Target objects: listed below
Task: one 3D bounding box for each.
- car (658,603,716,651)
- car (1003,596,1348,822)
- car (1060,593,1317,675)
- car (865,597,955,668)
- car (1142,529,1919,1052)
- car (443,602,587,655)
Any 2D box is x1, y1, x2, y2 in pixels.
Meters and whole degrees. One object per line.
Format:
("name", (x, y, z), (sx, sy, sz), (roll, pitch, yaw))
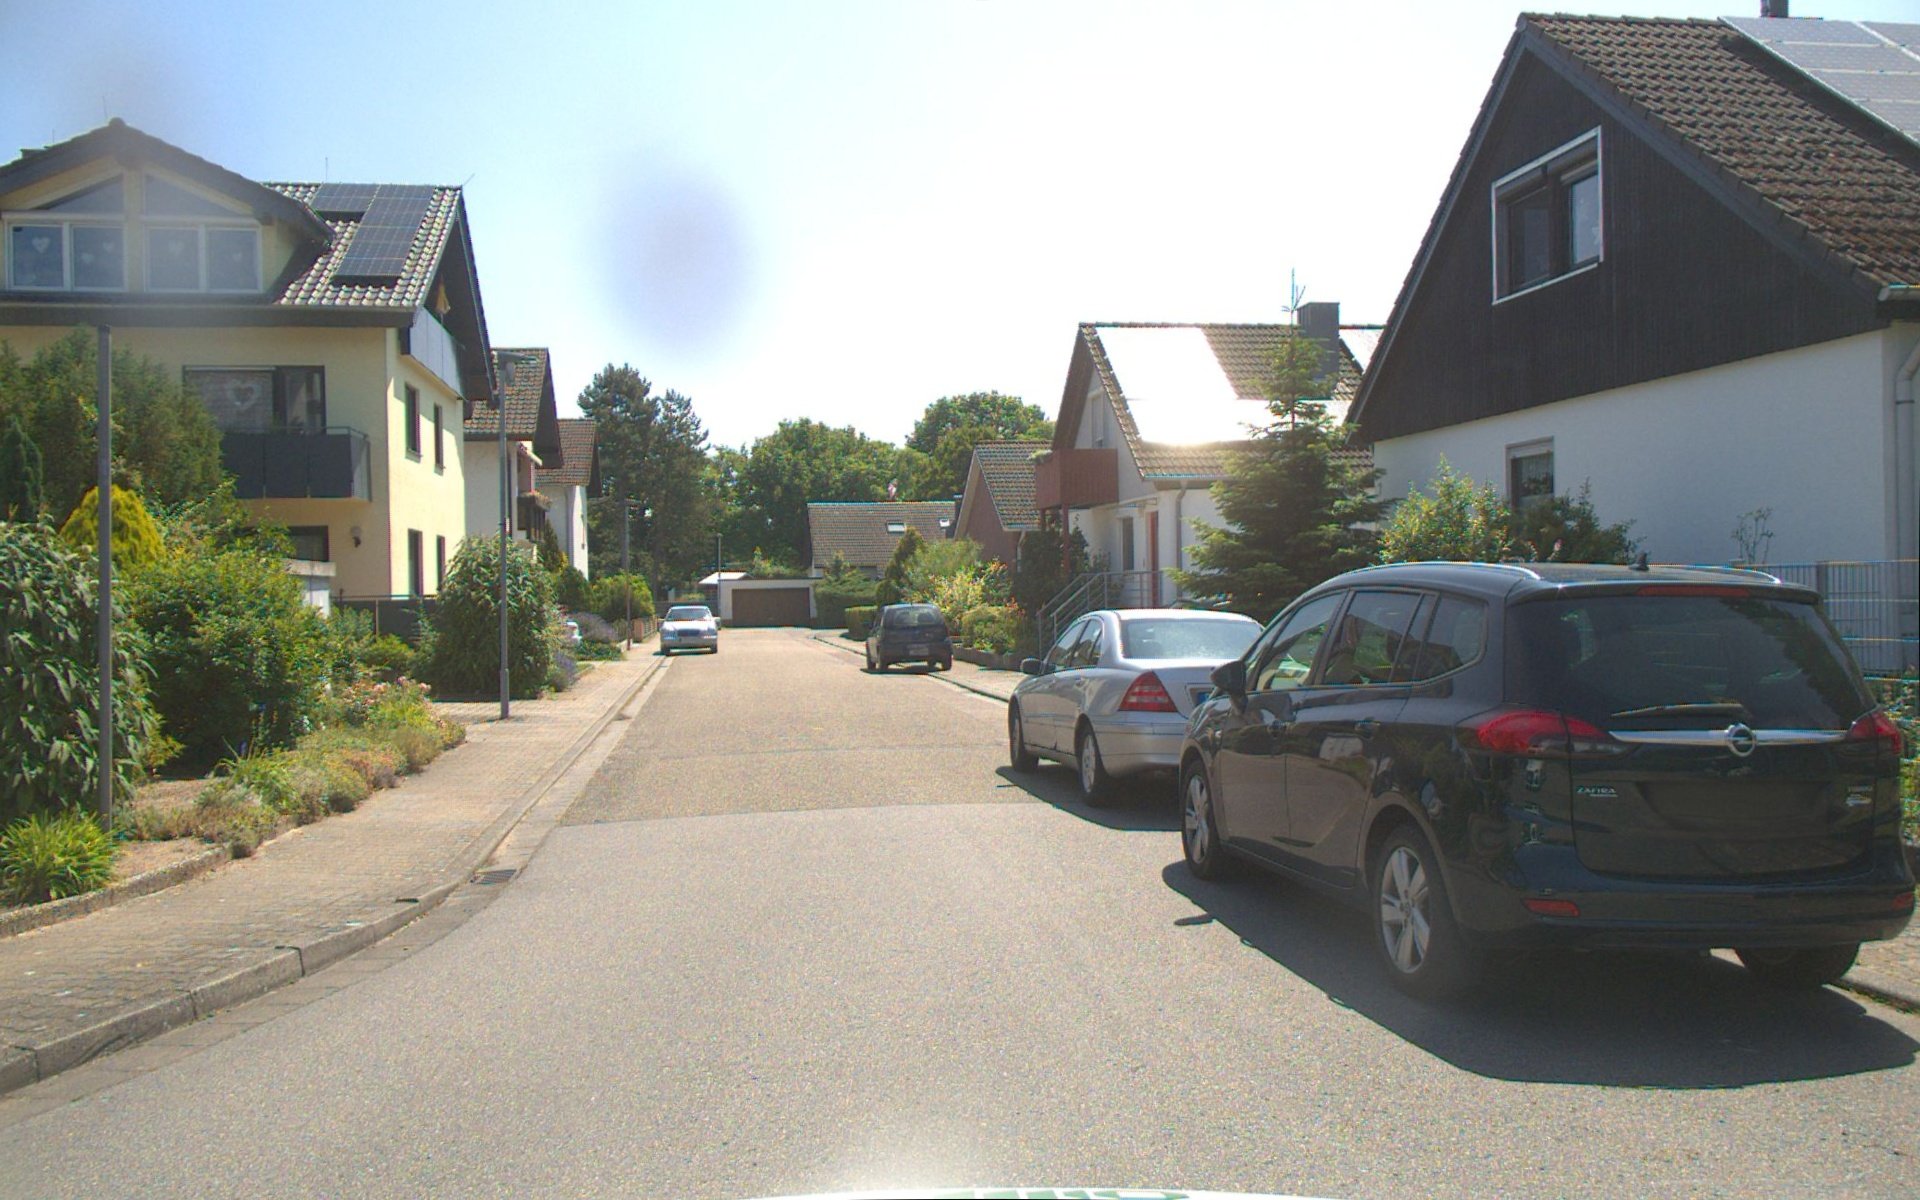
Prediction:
("car", (-8.576, 0.810, 52.116), (1.667, 1.417, 4.329), (-1, 0, -8))
("car", (1.529, 0.726, 13.350), (1.655, 1.485, 4.329), (-1, 0, -8))
("car", (4.243, 0.612, 31.065), (4.451, 1.421, 1.949), (-1, 0, -7))
("car", (-1.162, 0.679, 36.900), (1.619, 1.465, 3.645), (-1, 0, -8))
("car", (2.389, 0.600, 7.876), (1.926, 1.691, 4.674), (-1, 0, -8))
("car", (-12.702, 0.799, 47.400), (3.920, 1.445, 1.839), (-1, 0, -14))
